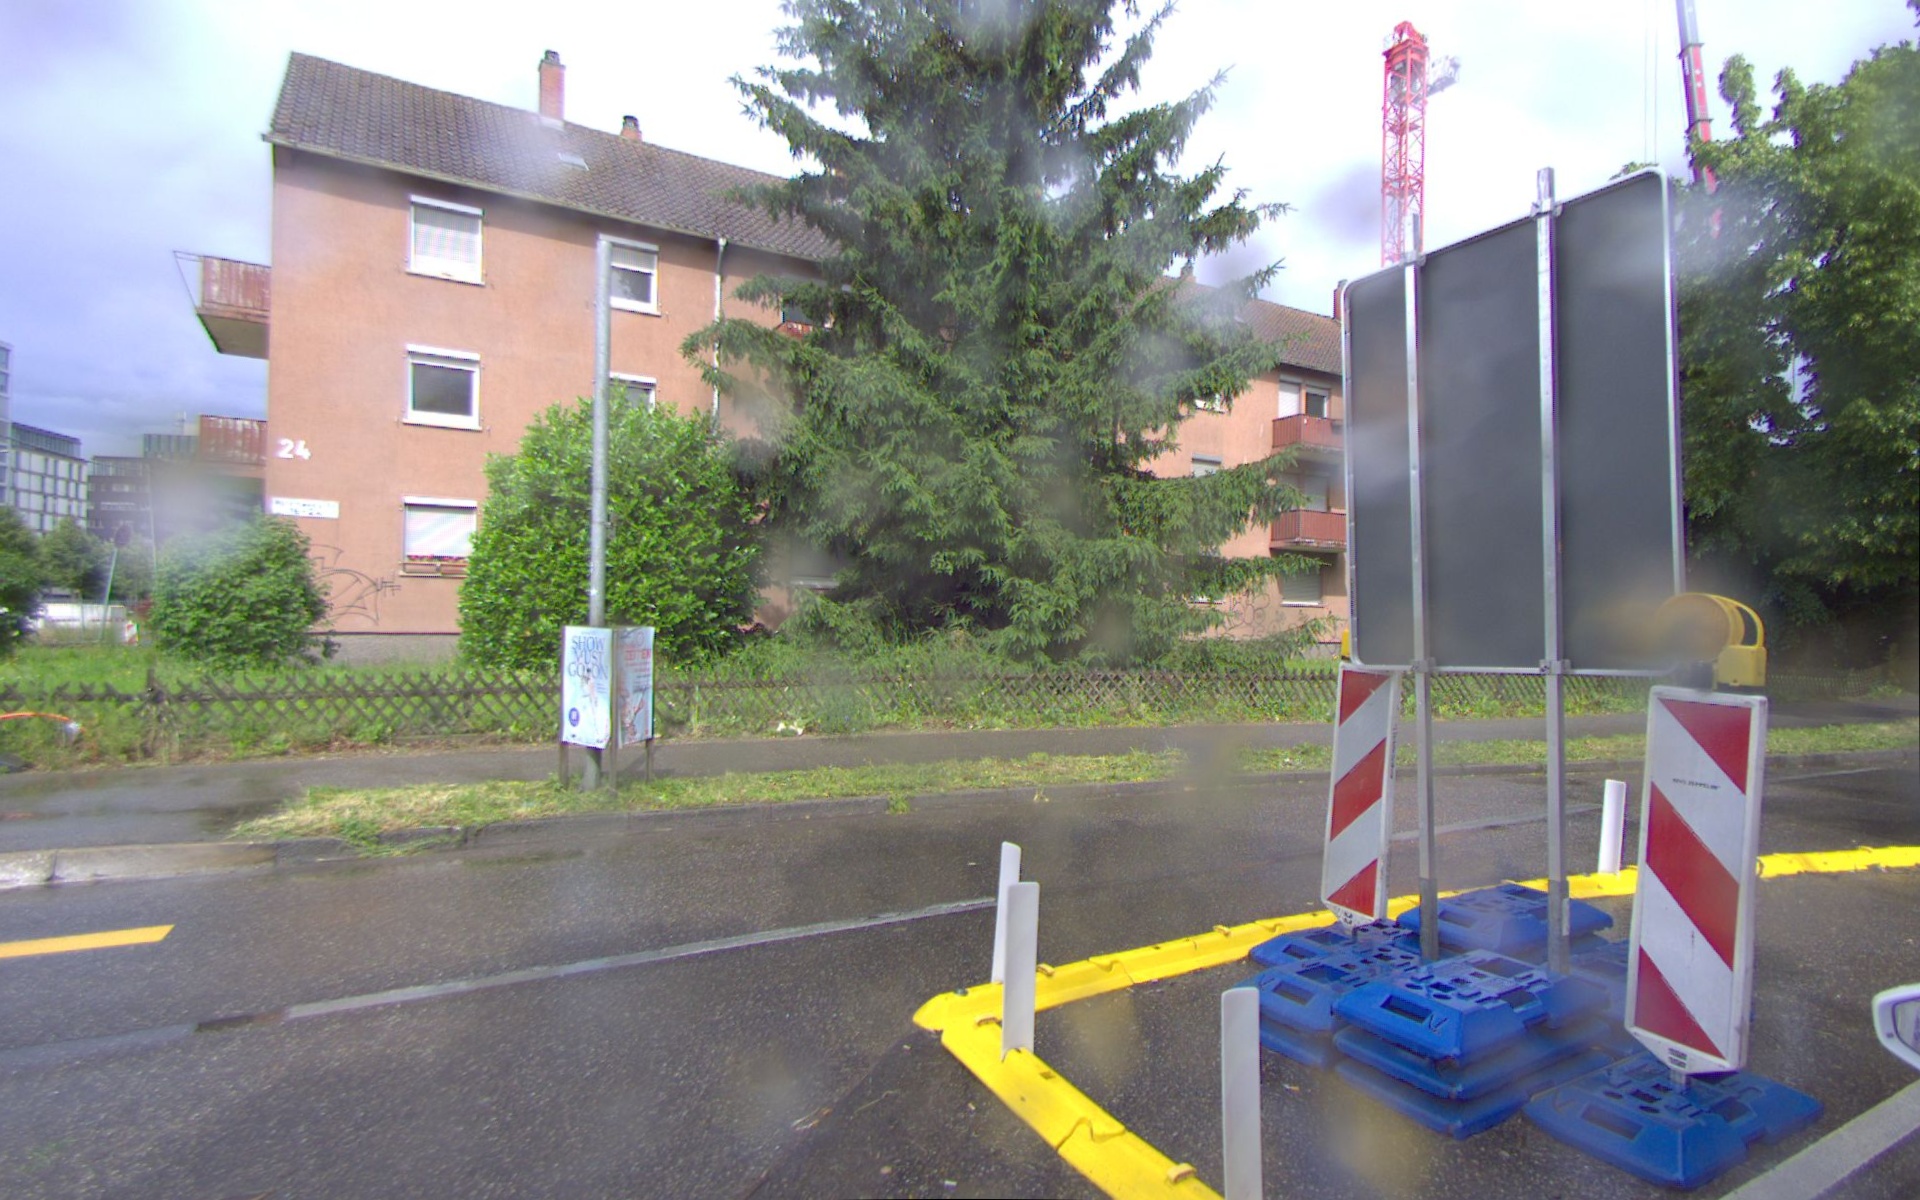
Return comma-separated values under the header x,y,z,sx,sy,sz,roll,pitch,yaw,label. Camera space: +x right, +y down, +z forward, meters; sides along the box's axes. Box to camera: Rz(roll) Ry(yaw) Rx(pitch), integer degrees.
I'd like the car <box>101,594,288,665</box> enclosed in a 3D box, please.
x,y,z,sx,sy,sz,roll,pitch,yaw,label
-23.072,0.871,30.395,4.239,2.045,1.715,1,0,-3,car
